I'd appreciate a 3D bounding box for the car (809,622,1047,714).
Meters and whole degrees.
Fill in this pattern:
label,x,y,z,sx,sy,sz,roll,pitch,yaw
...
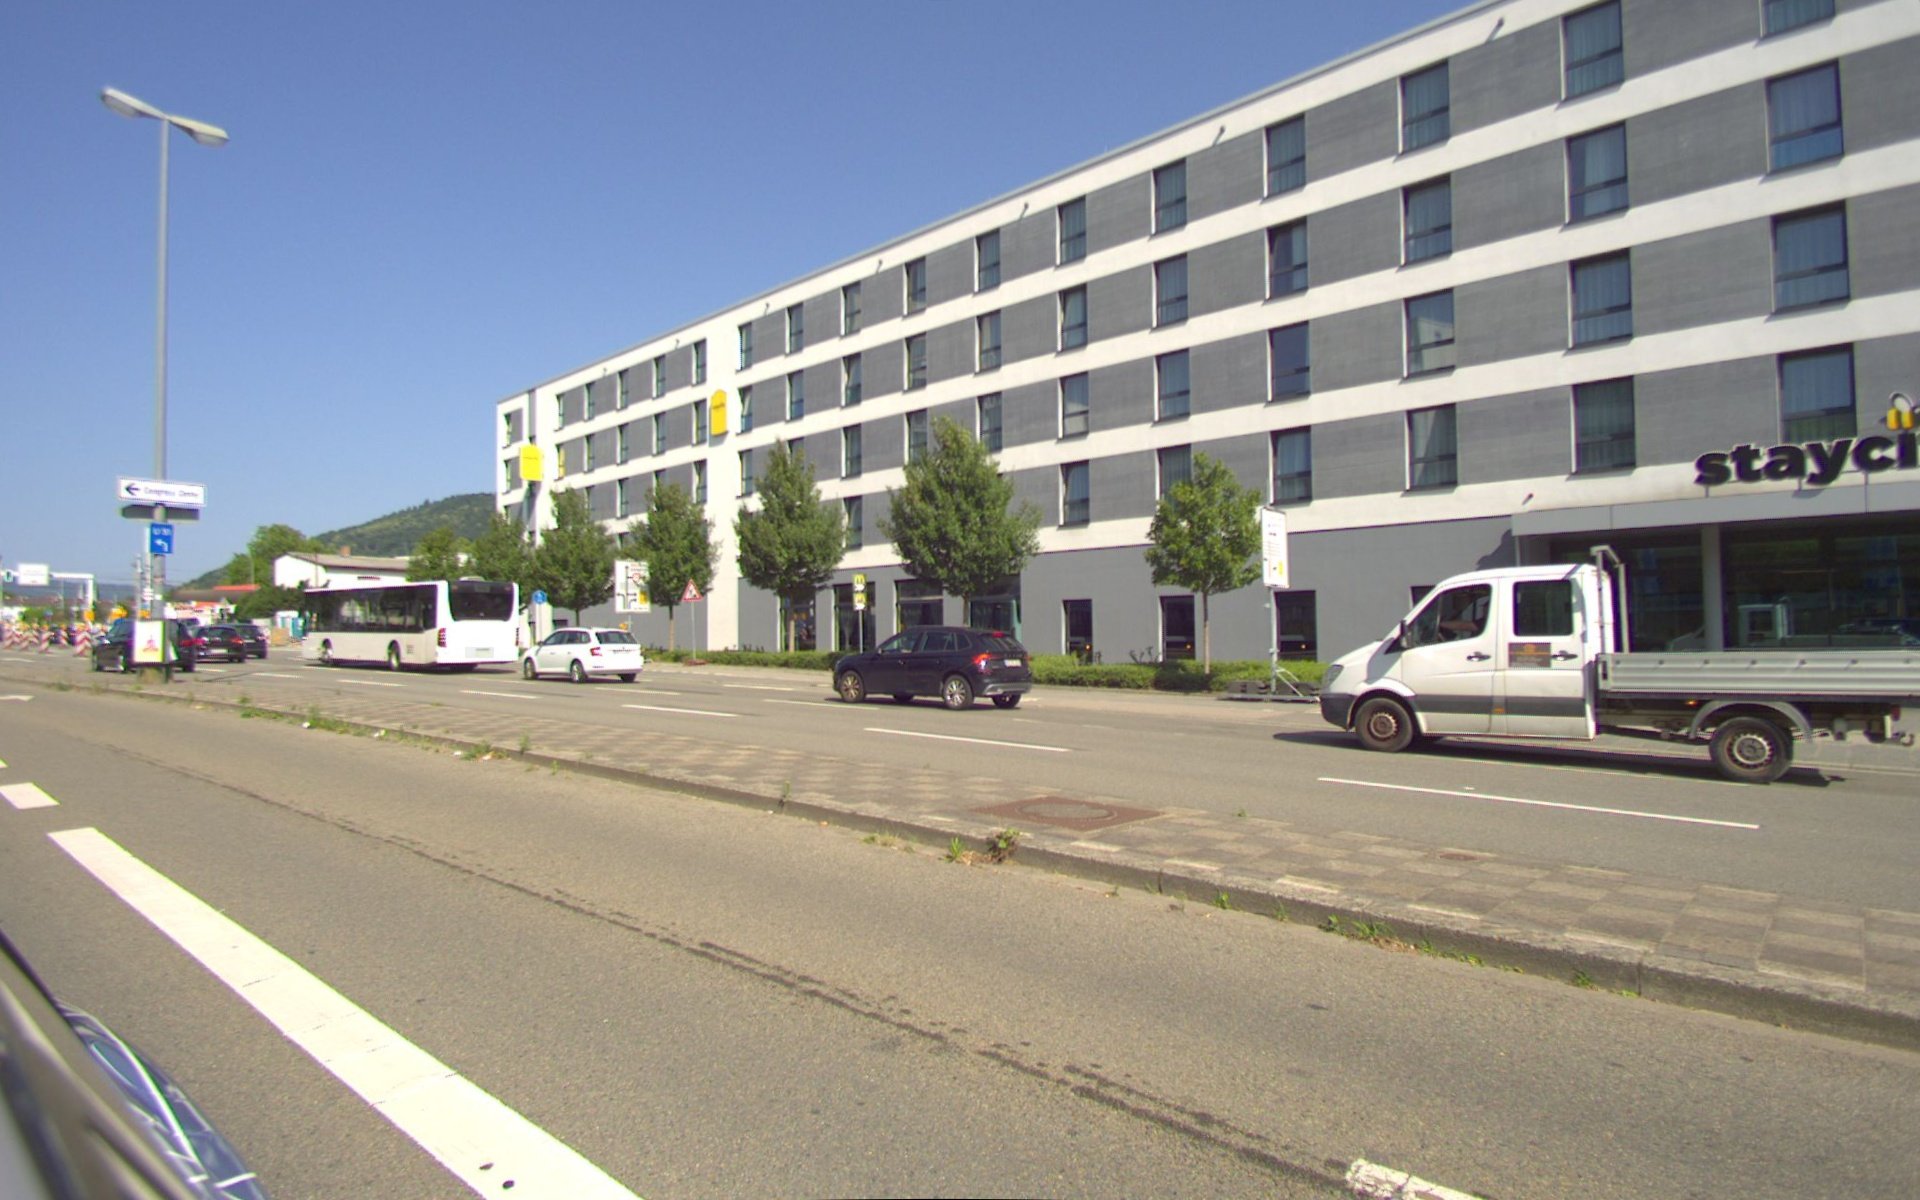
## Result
label,x,y,z,sx,sy,sz,roll,pitch,yaw
car,-0.698,1.257,19.631,4.408,1.590,1.973,-1,-4,39

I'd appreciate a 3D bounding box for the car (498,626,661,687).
label,x,y,z,sx,sy,sz,roll,pitch,yaw
car,-10.352,1.502,27.413,4.403,1.497,1.976,0,-4,36

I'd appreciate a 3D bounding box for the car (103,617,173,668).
label,x,y,z,sx,sy,sz,roll,pitch,yaw
car,-35.558,1.782,43.723,4.162,2.029,1.658,0,0,41

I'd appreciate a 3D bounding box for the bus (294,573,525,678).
label,x,y,z,sx,sy,sz,roll,pitch,yaw
bus,-19.233,0.902,34.781,11.966,3.102,2.710,-1,-4,40

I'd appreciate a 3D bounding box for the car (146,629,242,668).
label,x,y,z,sx,sy,sz,roll,pitch,yaw
car,-29.983,1.849,39.559,4.887,1.443,1.973,-1,-2,40

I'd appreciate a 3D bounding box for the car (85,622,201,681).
label,x,y,z,sx,sy,sz,roll,pitch,yaw
car,-24.251,1.487,29.998,4.130,1.630,1.866,-1,-2,40

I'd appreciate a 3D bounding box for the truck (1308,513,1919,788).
label,x,y,z,sx,sy,sz,roll,pitch,yaw
truck,7.716,0.574,11.976,6.431,2.565,2.333,-2,-4,40

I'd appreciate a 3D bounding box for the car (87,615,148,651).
label,x,y,z,sx,sy,sz,roll,pitch,yaw
car,-50.017,1.933,60.074,3.995,2.029,1.974,-1,0,39
